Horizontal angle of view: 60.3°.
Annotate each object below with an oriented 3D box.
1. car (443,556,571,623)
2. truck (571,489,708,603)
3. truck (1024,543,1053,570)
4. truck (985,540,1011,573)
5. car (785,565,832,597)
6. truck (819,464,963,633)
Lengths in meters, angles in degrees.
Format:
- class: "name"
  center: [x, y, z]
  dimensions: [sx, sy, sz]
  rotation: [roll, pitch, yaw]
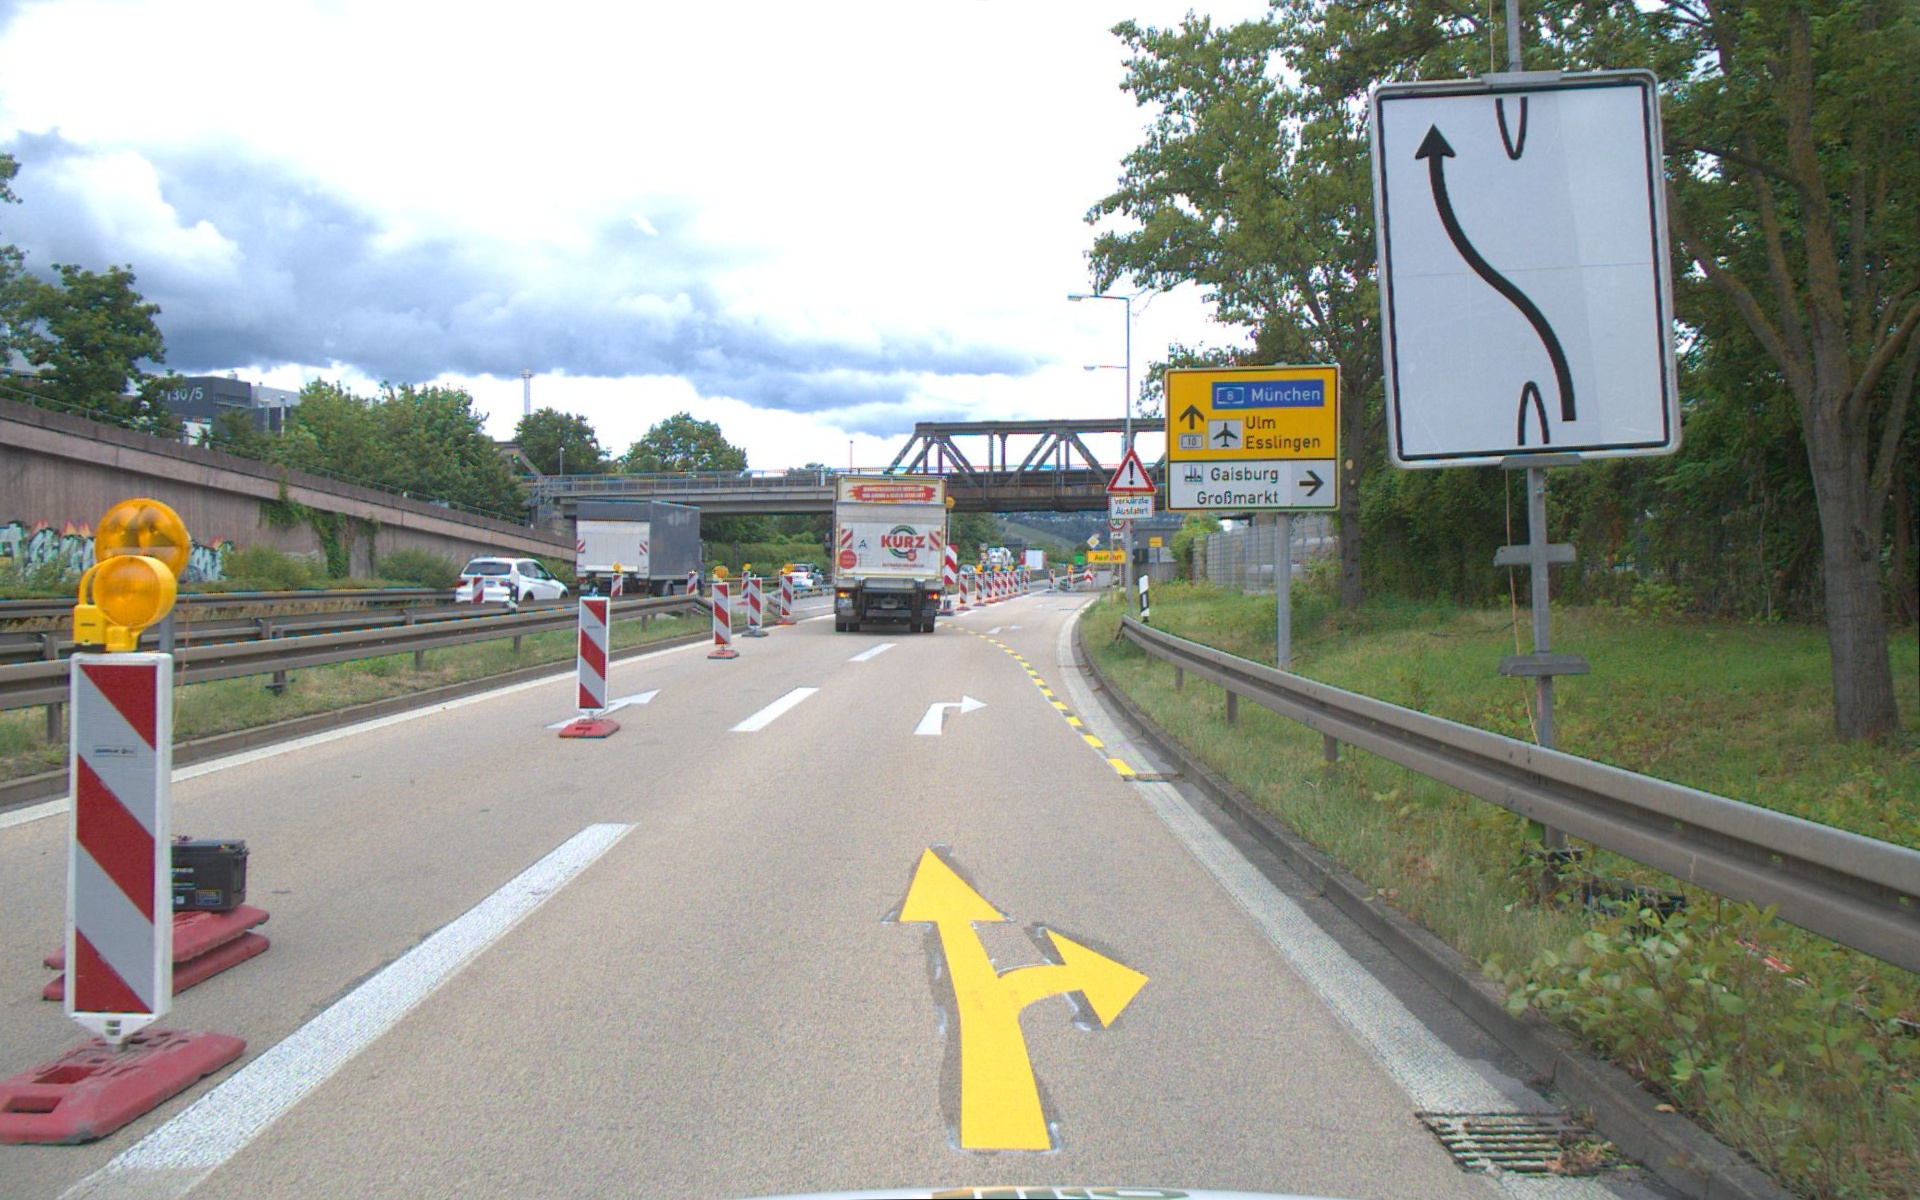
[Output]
- class: "car"
  center: [-12.171, -0.283, 44.696]
  dimensions: [1.951, 1.742, 4.104]
  rotation: [0, 0, 7]
- class: "truck"
  center: [-11.004, -1.785, 57.602]
  dimensions: [2.987, 3.720, 7.398]
  rotation: [0, 0, 3]
- class: "truck"
  center: [10.796, -5.949, 228.033]
  dimensions: [3.827, 3.611, 8.141]
  rotation: [0, 0, 1]
- class: "truck"
  center: [4.846, -5.472, 209.606]
  dimensions: [3.218, 3.920, 7.667]
  rotation: [0, 0, 2]
- class: "car"
  center: [-7.976, -1.004, 87.215]
  dimensions: [1.952, 1.646, 4.001]
  rotation: [0, 0, 2]
- class: "truck"
  center: [-1.520, -1.157, 40.410]
  dimensions: [2.988, 3.737, 7.929]
  rotation: [0, 0, 1]
